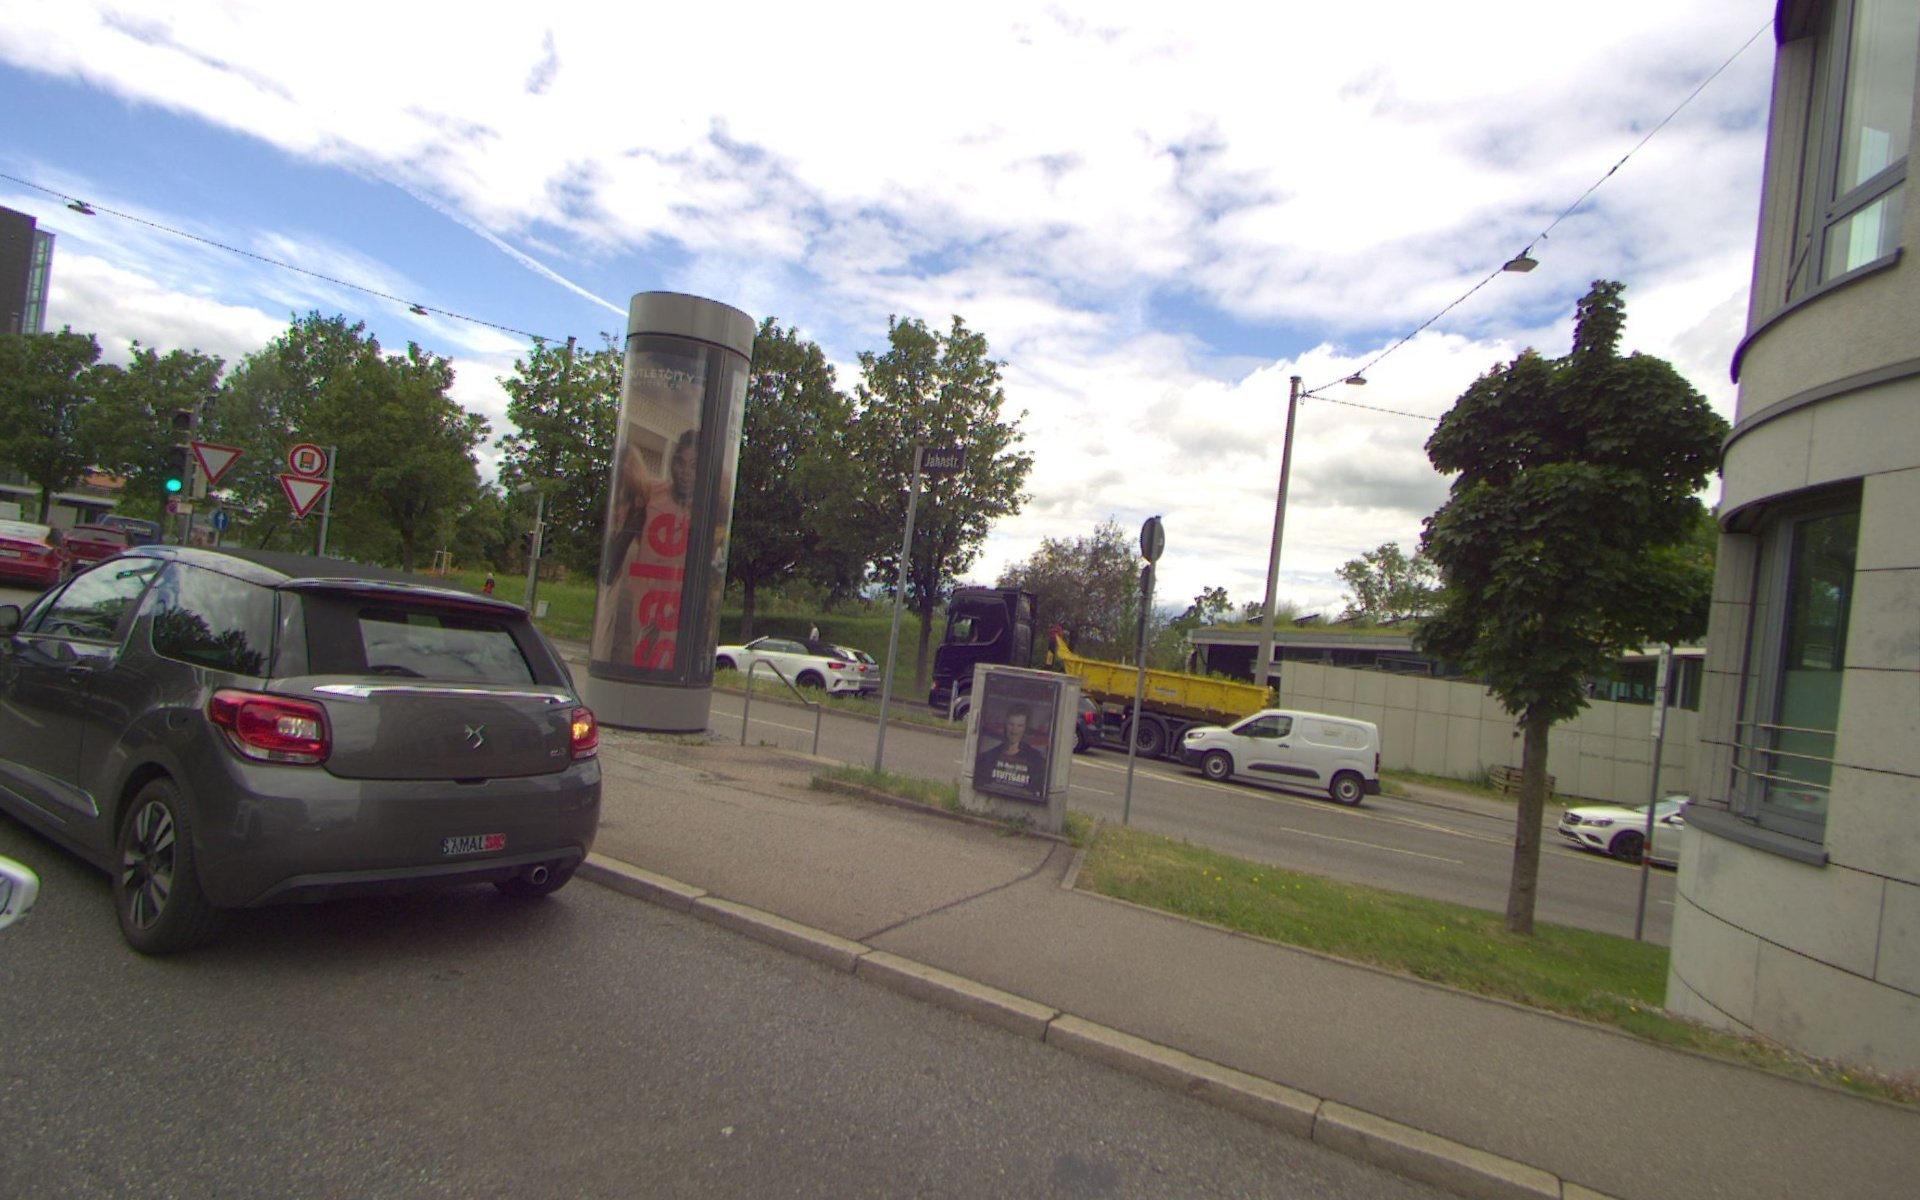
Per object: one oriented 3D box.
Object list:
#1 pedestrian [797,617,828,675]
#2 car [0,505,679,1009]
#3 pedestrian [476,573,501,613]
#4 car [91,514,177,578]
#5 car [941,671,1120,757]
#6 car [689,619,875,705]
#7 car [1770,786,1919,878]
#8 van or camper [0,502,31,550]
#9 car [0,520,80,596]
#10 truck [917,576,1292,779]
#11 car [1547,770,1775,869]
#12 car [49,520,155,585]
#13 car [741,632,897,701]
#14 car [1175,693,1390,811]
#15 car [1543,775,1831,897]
[{"bbox_3d":[-5.219,1.621,35.600,0.746,1.942,0.585,8,3,-19],"label":"pedestrian"},{"bbox_3d":[-3.486,0.460,4.948,3.996,1.477,1.704,6,-3,33],"label":"car"},{"bbox_3d":[-20.532,-0.310,43.813,0.689,1.626,0.542,7,4,10],"label":"pedestrian"},{"bbox_3d":[-30.103,-1.947,36.804,1.892,1.879,4.666,9,-3,-35],"label":"car"},{"bbox_3d":[1.725,2.728,24.434,3.903,1.389,1.656,8,-2,19],"label":"car"},{"bbox_3d":[-4.739,1.659,26.905,4.404,1.547,1.858,8,-2,19],"label":"car"},{"bbox_3d":[20.594,5.234,22.076,3.909,1.456,1.689,8,-3,17],"label":"car"},{"bbox_3d":[-43.444,-3.525,44.170,4.327,1.940,2.002,8,-1,20],"label":"van or camper"},{"bbox_3d":[-21.345,-1.027,22.662,1.866,1.434,4.397,10,-3,-38],"label":"car"},{"bbox_3d":[3.880,1.980,27.280,9.280,3.969,2.832,7,-2,18],"label":"truck"},{"bbox_3d":[16.182,5.045,23.452,3.909,1.348,1.689,8,-2,17],"label":"car"},{"bbox_3d":[-24.778,-1.353,29.172,1.735,1.497,3.686,9,-3,-34],"label":"car"},{"bbox_3d":[-4.244,2.026,30.465,4.081,1.458,1.992,7,-3,19],"label":"car"},{"bbox_3d":[7.135,3.310,22.534,4.206,1.817,1.758,8,-2,17],"label":"car"},{"bbox_3d":[14.387,4.656,20.170,4.206,1.391,1.759,8,-2,13],"label":"car"}]
